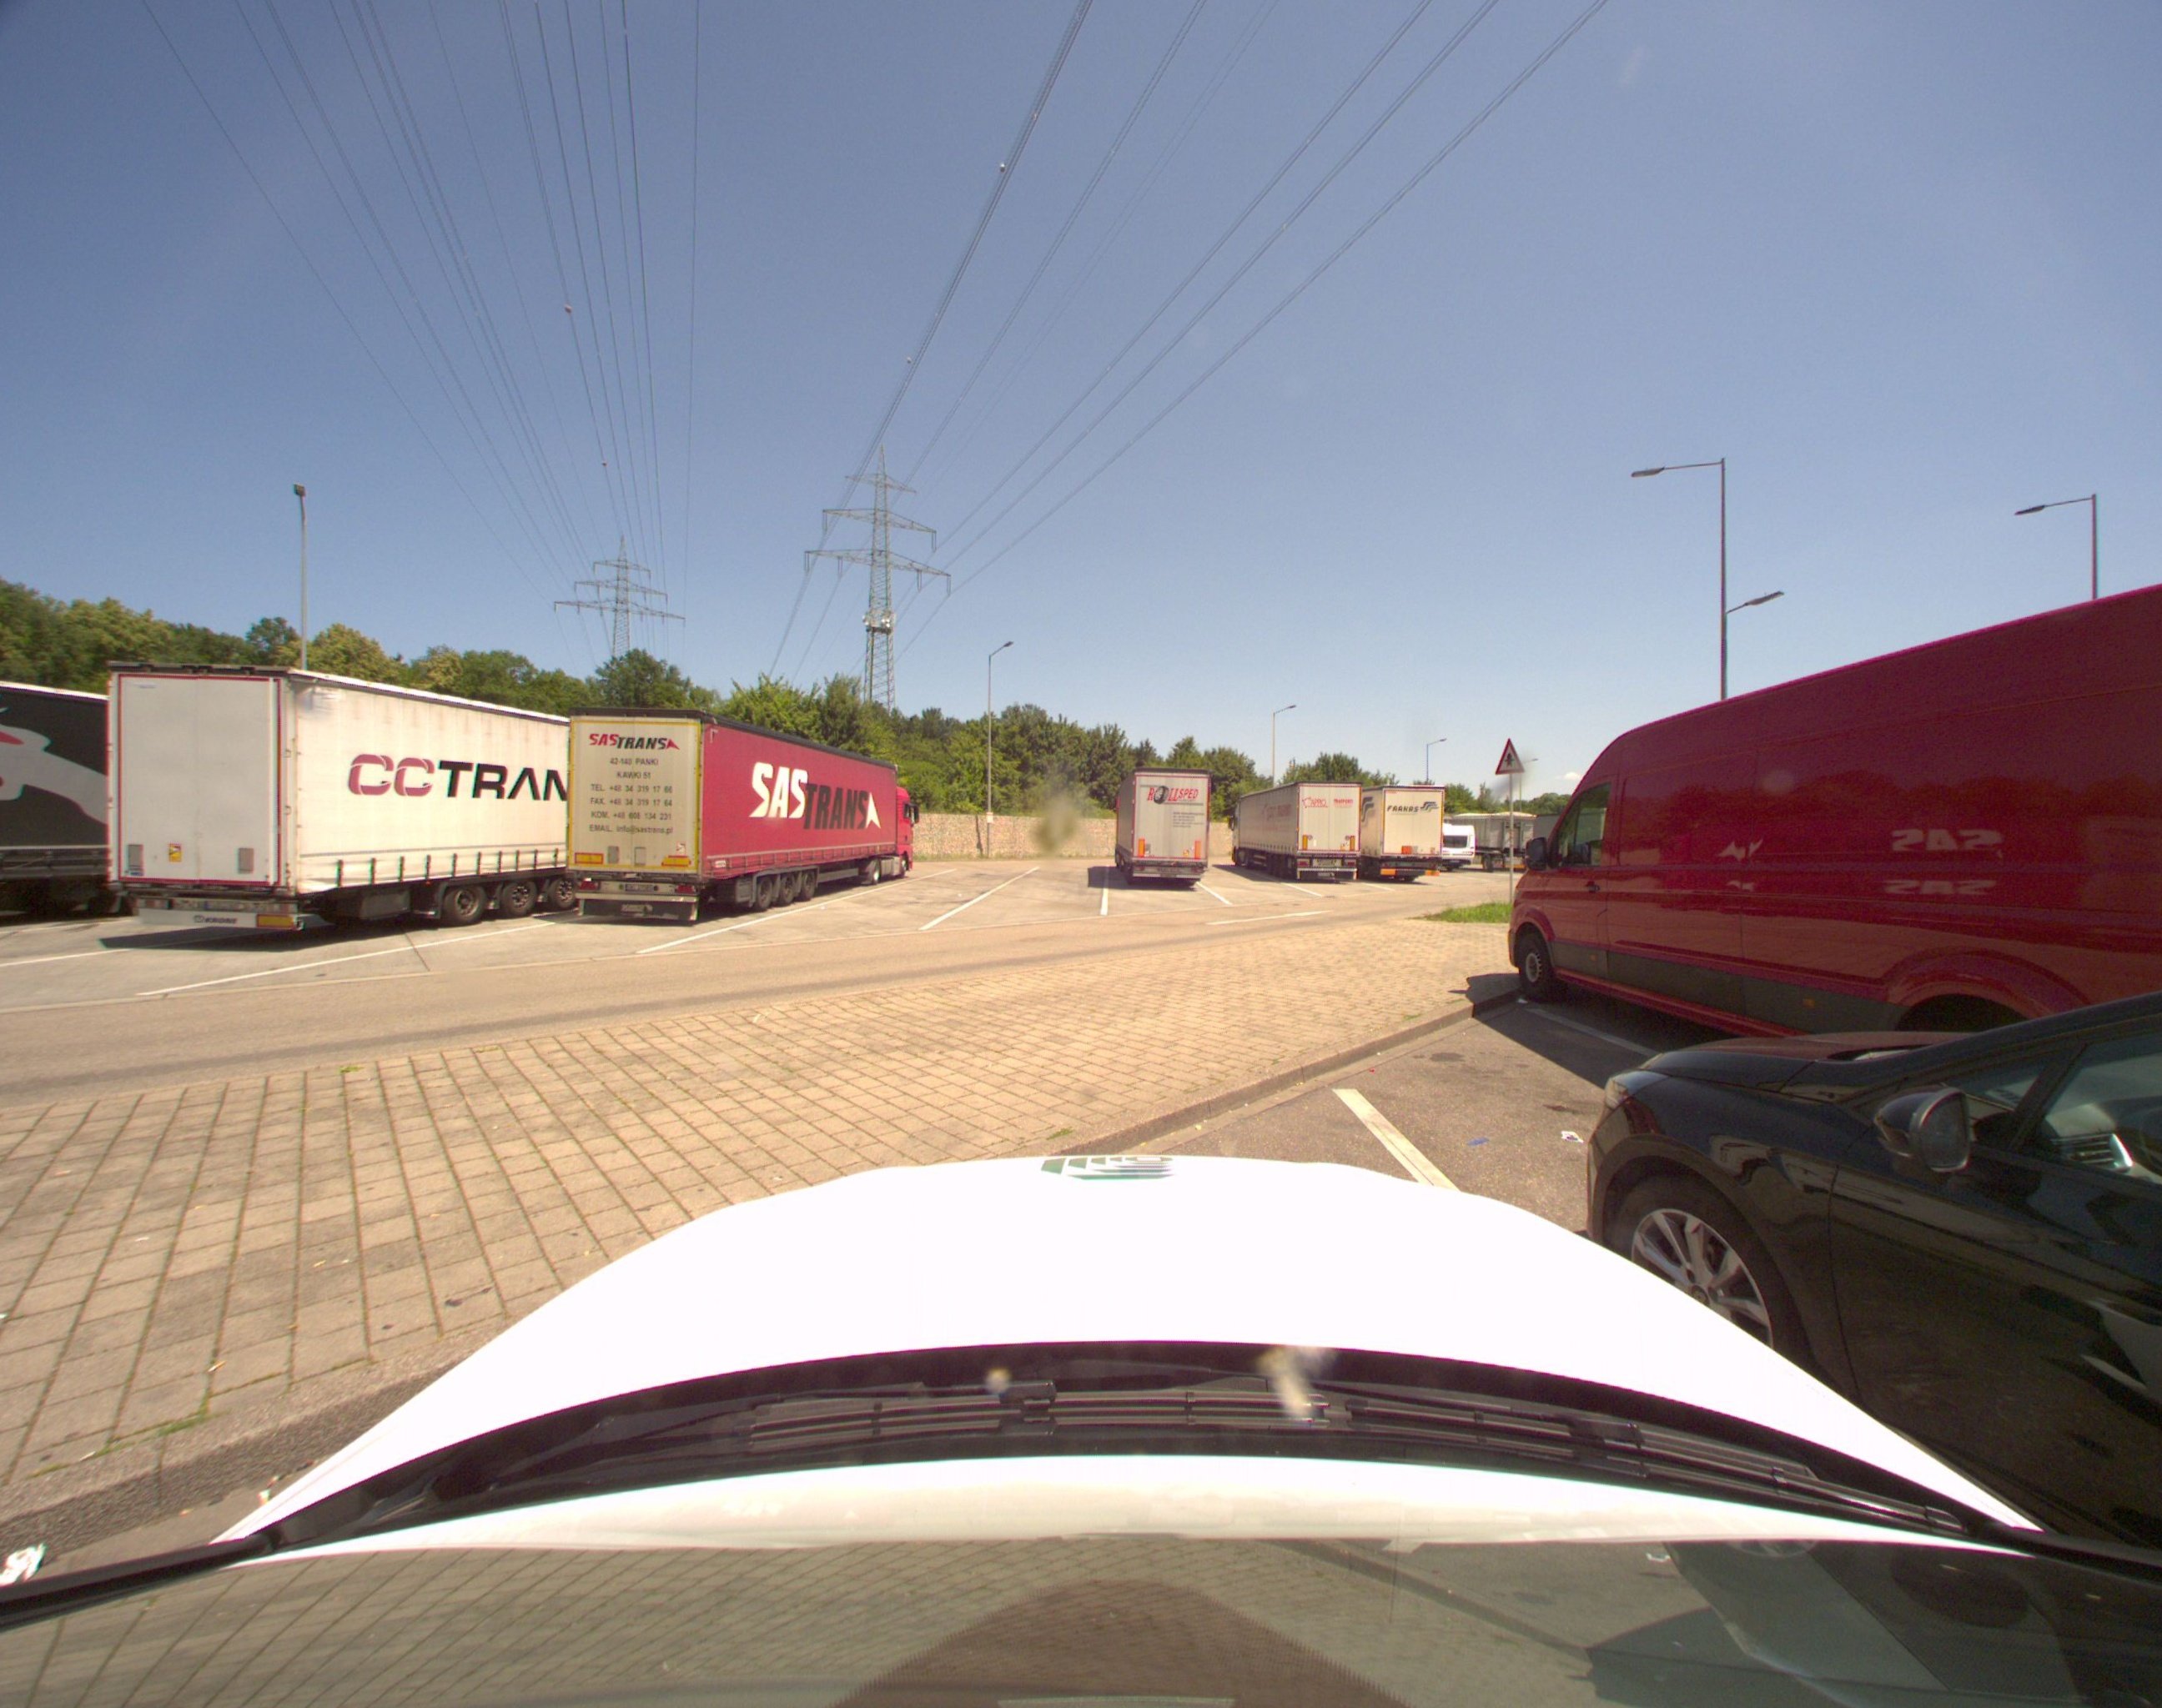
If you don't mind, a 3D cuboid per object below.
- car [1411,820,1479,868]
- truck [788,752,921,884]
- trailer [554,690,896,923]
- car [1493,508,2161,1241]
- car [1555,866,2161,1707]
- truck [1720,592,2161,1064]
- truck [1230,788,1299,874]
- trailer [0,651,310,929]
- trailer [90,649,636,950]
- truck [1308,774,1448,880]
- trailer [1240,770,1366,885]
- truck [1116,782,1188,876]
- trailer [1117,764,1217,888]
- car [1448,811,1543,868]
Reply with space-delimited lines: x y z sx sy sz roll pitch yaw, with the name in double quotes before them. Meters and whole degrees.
"car" 20.537 -0.525 46.142 2.107 2.599 4.001 0 -1 2
"truck" -7.750 -1.177 28.721 2.795 4.133 5.896 -1 1 2
"trailer" -7.999 -0.952 21.465 2.789 4.219 13.208 -1 1 2
"car" 5.133 0.029 5.516 1.984 2.633 6.393 -1 1 5
"car" 2.562 0.761 0.920 1.772 1.457 3.681 0 -1 -3
"truck" 7.796 -0.154 6.039 2.508 2.827 4.821 0 -1 3
"truck" 10.077 -1.240 45.202 2.651 4.452 5.866 -1 1 2
"trailer" -18.550 -1.033 14.979 2.668 4.444 6.151 -1 1 2
"trailer" -12.184 -0.813 15.394 2.744 4.152 8.291 0 1 2
"truck" 13.531 -1.036 38.536 2.577 4.226 11.974 0 -1 2
"trailer" 9.902 -1.119 38.117 2.672 4.452 12.833 -1 1 1
"truck" 3.167 -1.095 37.663 2.861 3.980 6.030 -1 1 1
"trailer" 3.069 -1.010 32.224 2.887 4.013 11.319 -1 1 1
"car" 24.135 -0.828 47.764 2.490 3.074 6.353 -1 1 2
